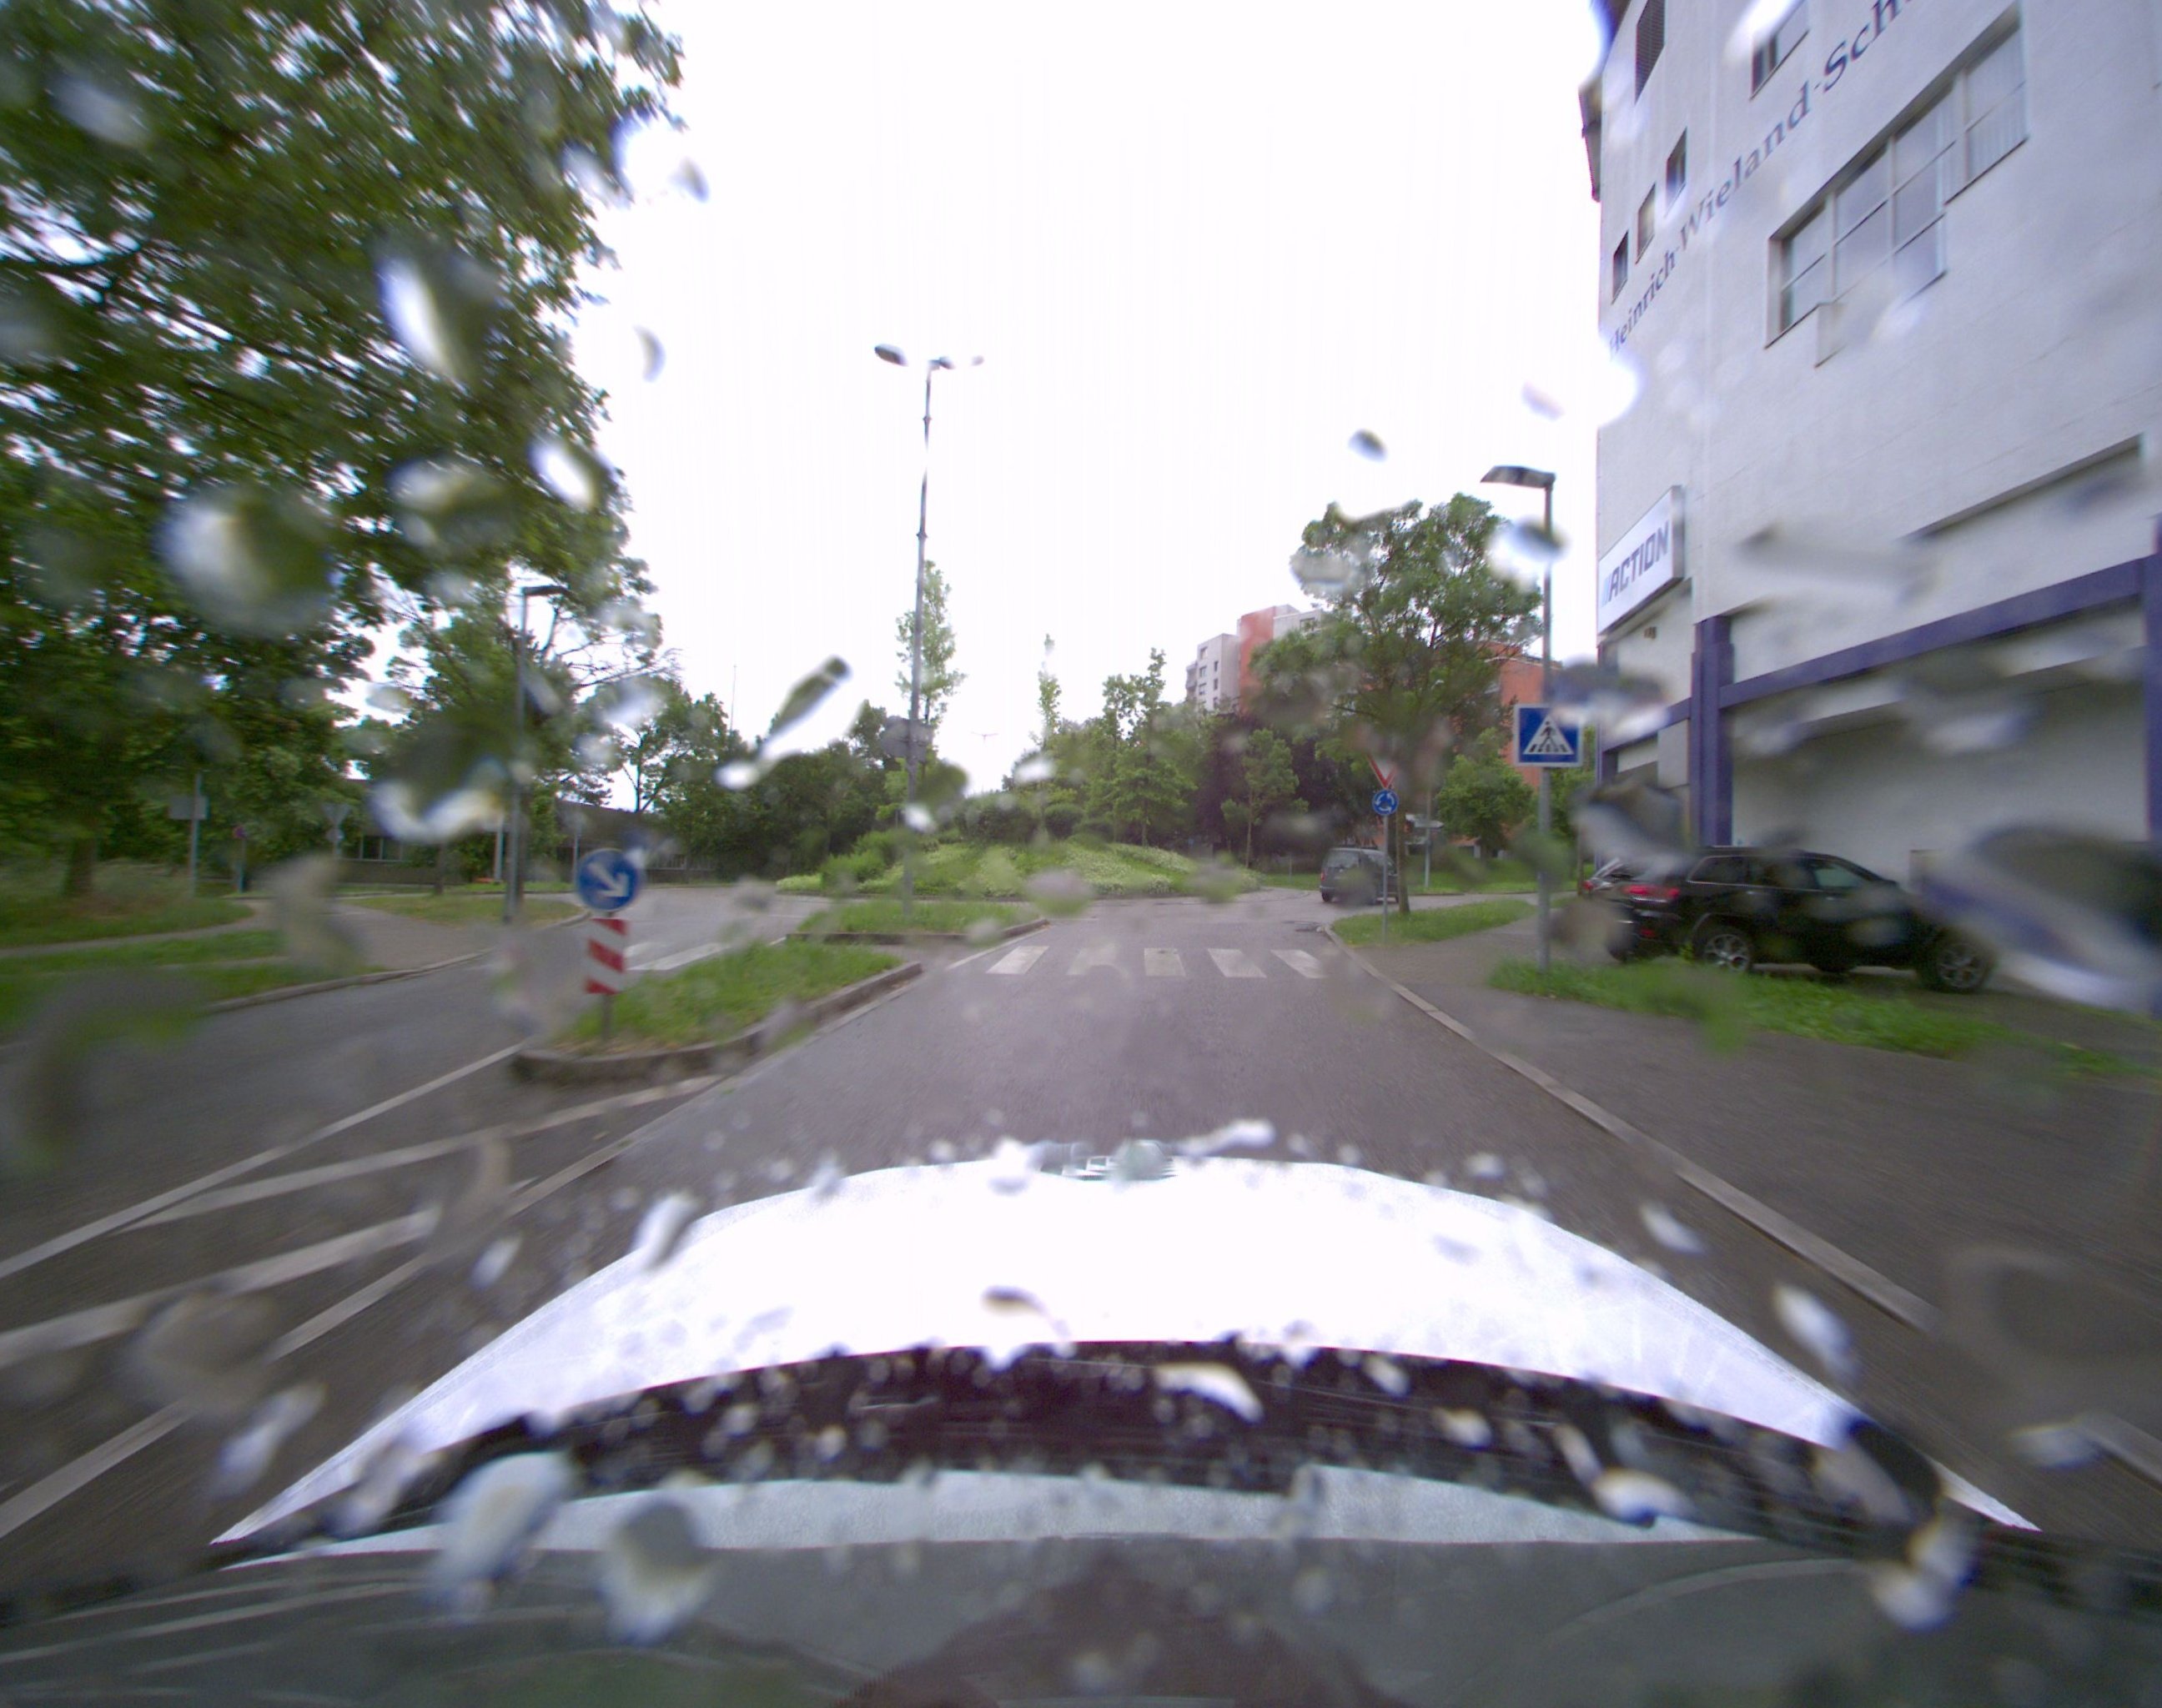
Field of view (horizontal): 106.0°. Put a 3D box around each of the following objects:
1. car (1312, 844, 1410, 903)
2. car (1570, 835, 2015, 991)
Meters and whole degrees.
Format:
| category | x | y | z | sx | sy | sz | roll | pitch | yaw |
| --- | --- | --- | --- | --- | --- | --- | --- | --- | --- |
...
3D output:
| category | x | y | z | sx | sy | sz | roll | pitch | yaw |
| --- | --- | --- | --- | --- | --- | --- | --- | --- | --- |
| car | 9.625 | 0.599 | 27.826 | 1.900 | 1.801 | 3.813 | 2 | 2 | 39 |
| car | 9.344 | 0.711 | 10.983 | 4.363 | 1.759 | 1.829 | 2 | 1 | 0 |
